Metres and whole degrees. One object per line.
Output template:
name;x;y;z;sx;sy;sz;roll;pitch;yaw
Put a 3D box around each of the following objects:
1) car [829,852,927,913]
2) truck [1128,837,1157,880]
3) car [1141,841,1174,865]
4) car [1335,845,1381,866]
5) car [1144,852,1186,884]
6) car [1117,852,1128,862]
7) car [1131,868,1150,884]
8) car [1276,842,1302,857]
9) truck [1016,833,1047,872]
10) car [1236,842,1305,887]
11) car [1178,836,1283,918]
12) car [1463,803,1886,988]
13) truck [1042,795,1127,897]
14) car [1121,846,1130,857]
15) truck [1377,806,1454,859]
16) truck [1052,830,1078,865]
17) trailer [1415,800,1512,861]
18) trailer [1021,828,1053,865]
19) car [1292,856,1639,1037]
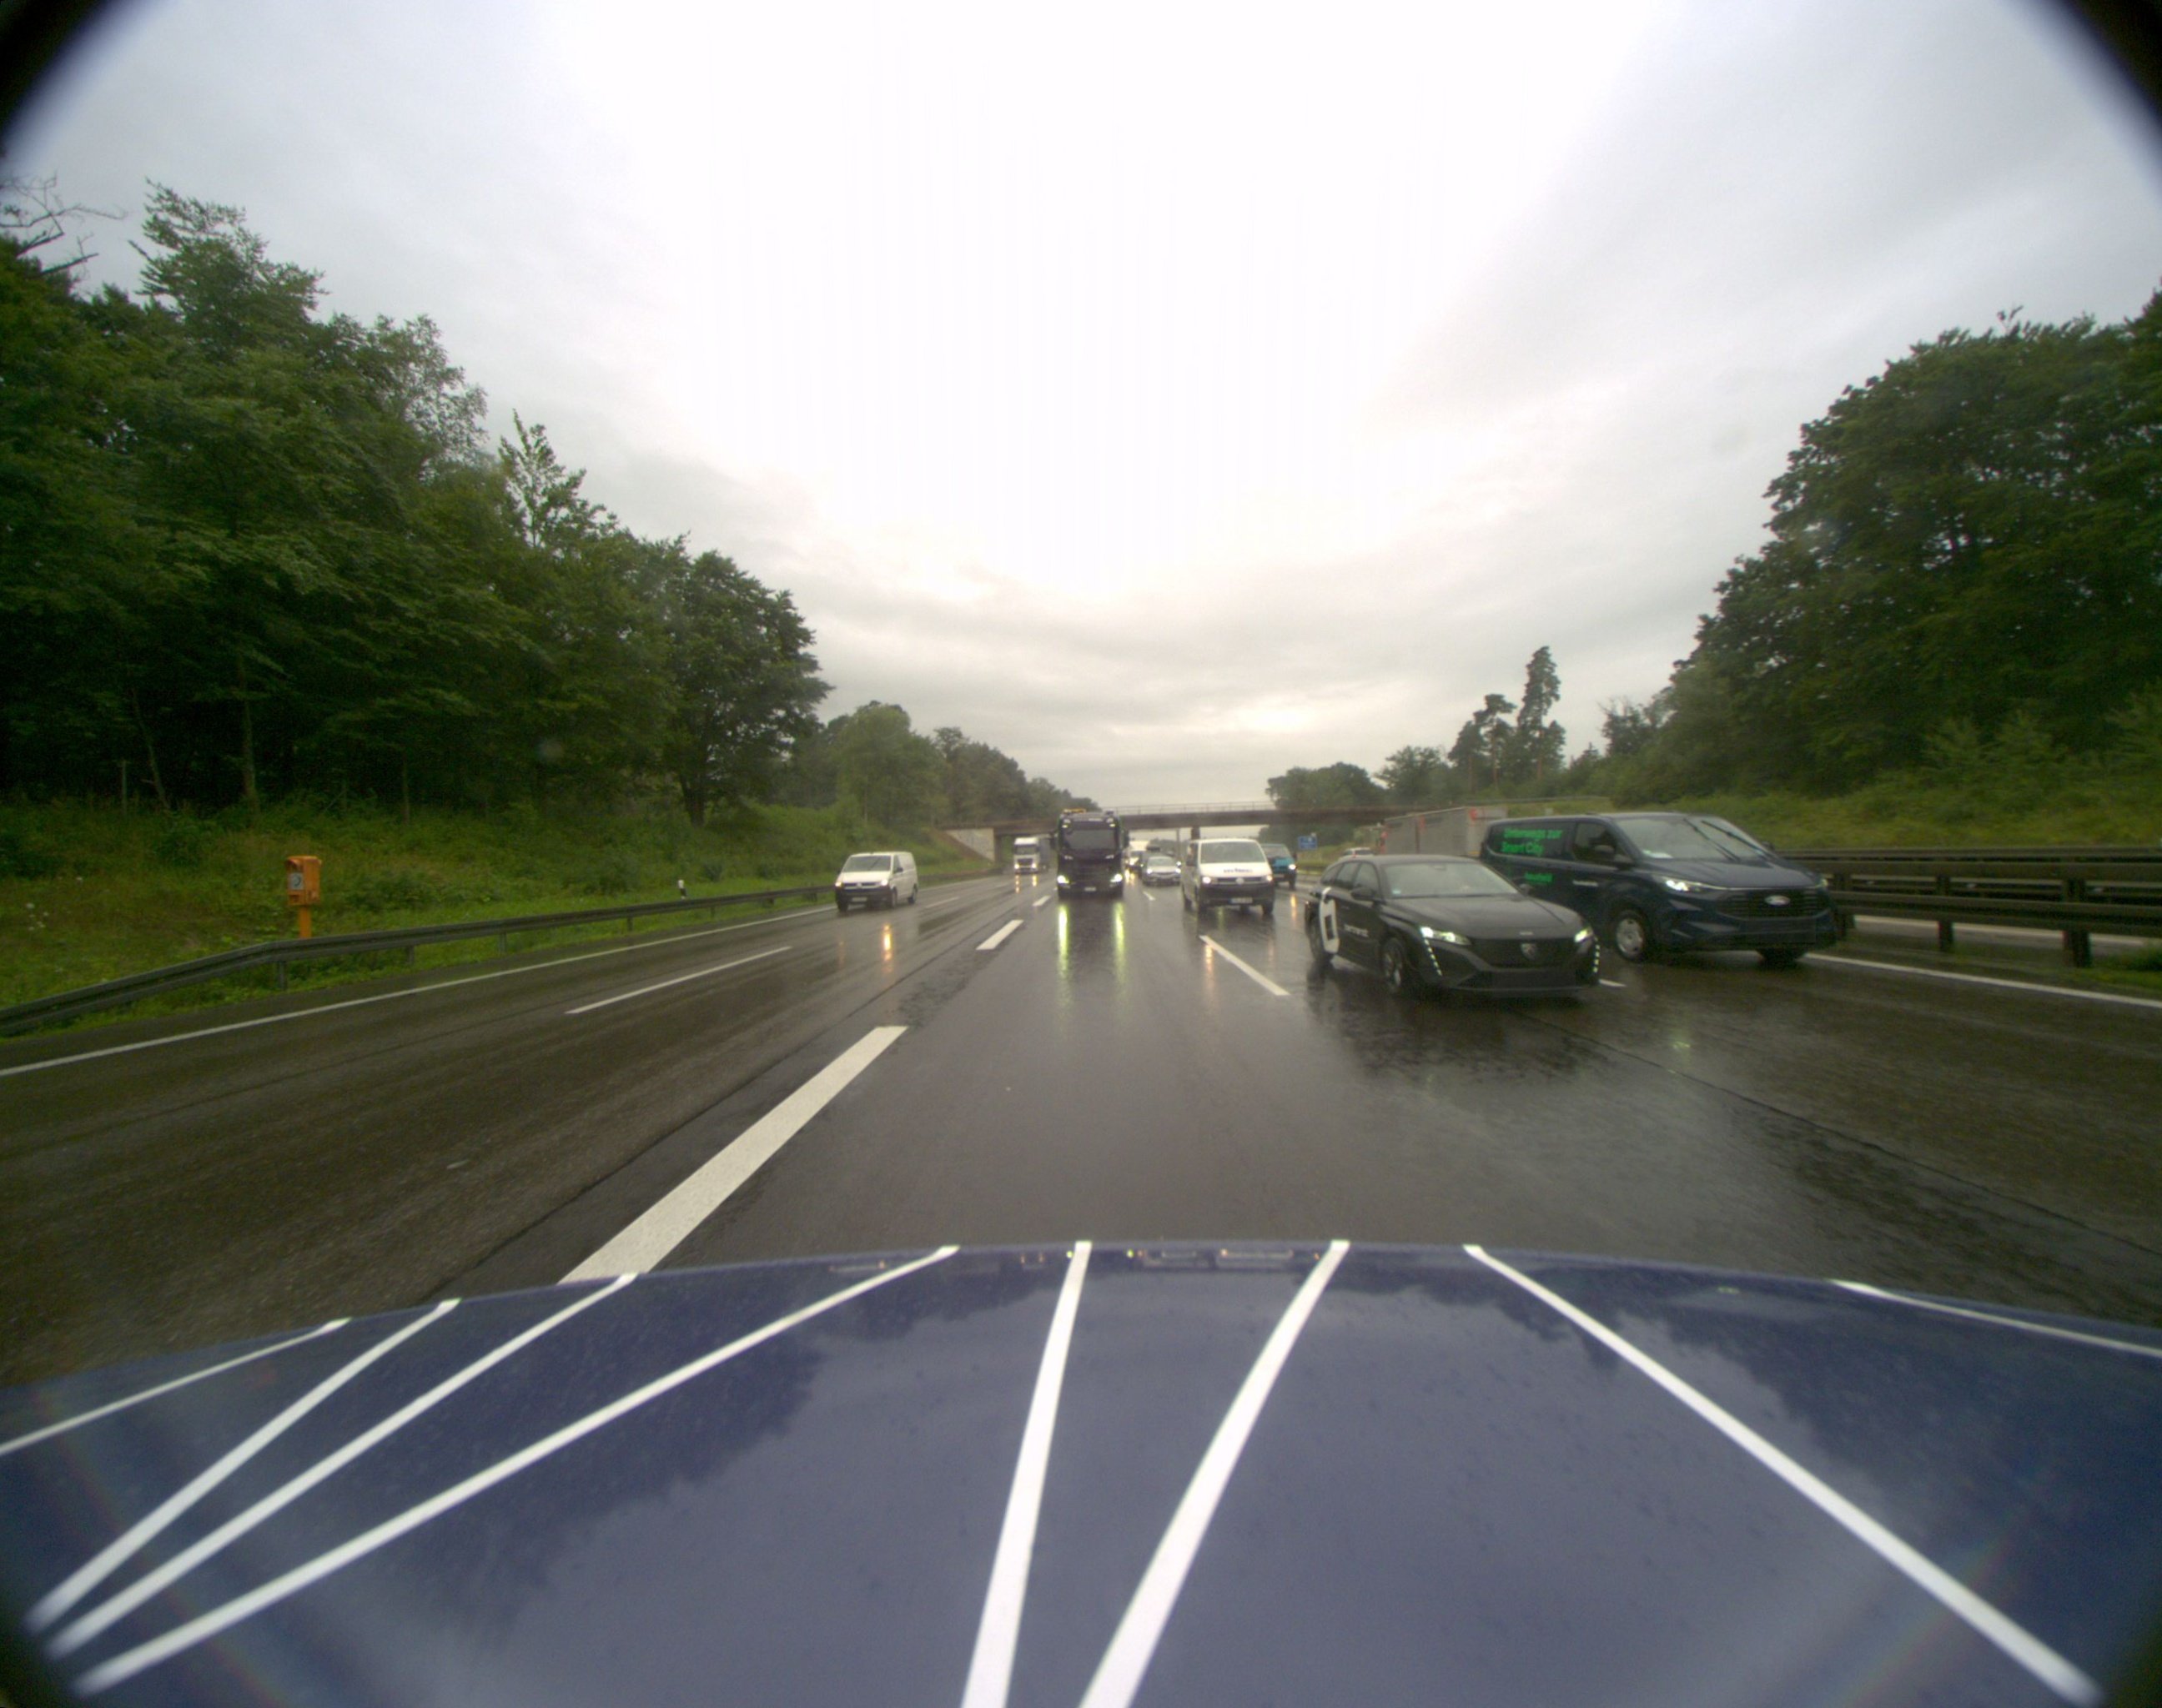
car;-7.102;0.930;27.146;1.994;1.909;4.767;-2;0;2
truck;6.048;0.430;75.617;2.521;3.941;6.995;-2;0;2
car;5.396;-0.050;53.950;1.994;1.551;4.767;-2;0;2
car;20.904;0.101;57.528;1.840;1.489;4.331;-2;0;0
car;4.339;0.709;39.763;1.850;1.496;4.467;-2;0;2
car;8.406;0.599;155.062;1.998;2.002;4.000;-2;0;1
car;7.467;2.780;95.351;1.982;1.814;4.605;-1;0;-1
car;22.472;-0.474;82.269;1.840;1.489;4.332;-2;0;3
truck;-5.508;-0.199;84.758;2.608;3.991;6.013;-3;1;2
car;8.525;0.414;34.618;1.915;1.852;4.758;-2;1;0
car;3.840;0.539;20.355;1.994;1.869;4.768;-2;0;2
car;7.732;0.431;10.827;1.996;1.933;5.242;-2;1;2
truck;0.399;-0.348;32.448;2.879;3.528;10.912;-2;1;3
car;10.666;-0.580;183.768;1.864;1.558;4.423;-2;16;1
truck;27.159;-1.623;62.255;2.709;3.909;10.031;-2;0;6
truck;-1.853;-0.761;90.806;2.607;3.934;5.600;-2;1;3
trailer;26.363;-1.540;52.976;2.689;3.795;9.008;-2;0;4
trailer;-5.163;-0.922;91.220;2.560;3.990;13.714;-2;0;2
car;3.908;0.805;8.740;1.850;1.495;4.467;-2;0;2
